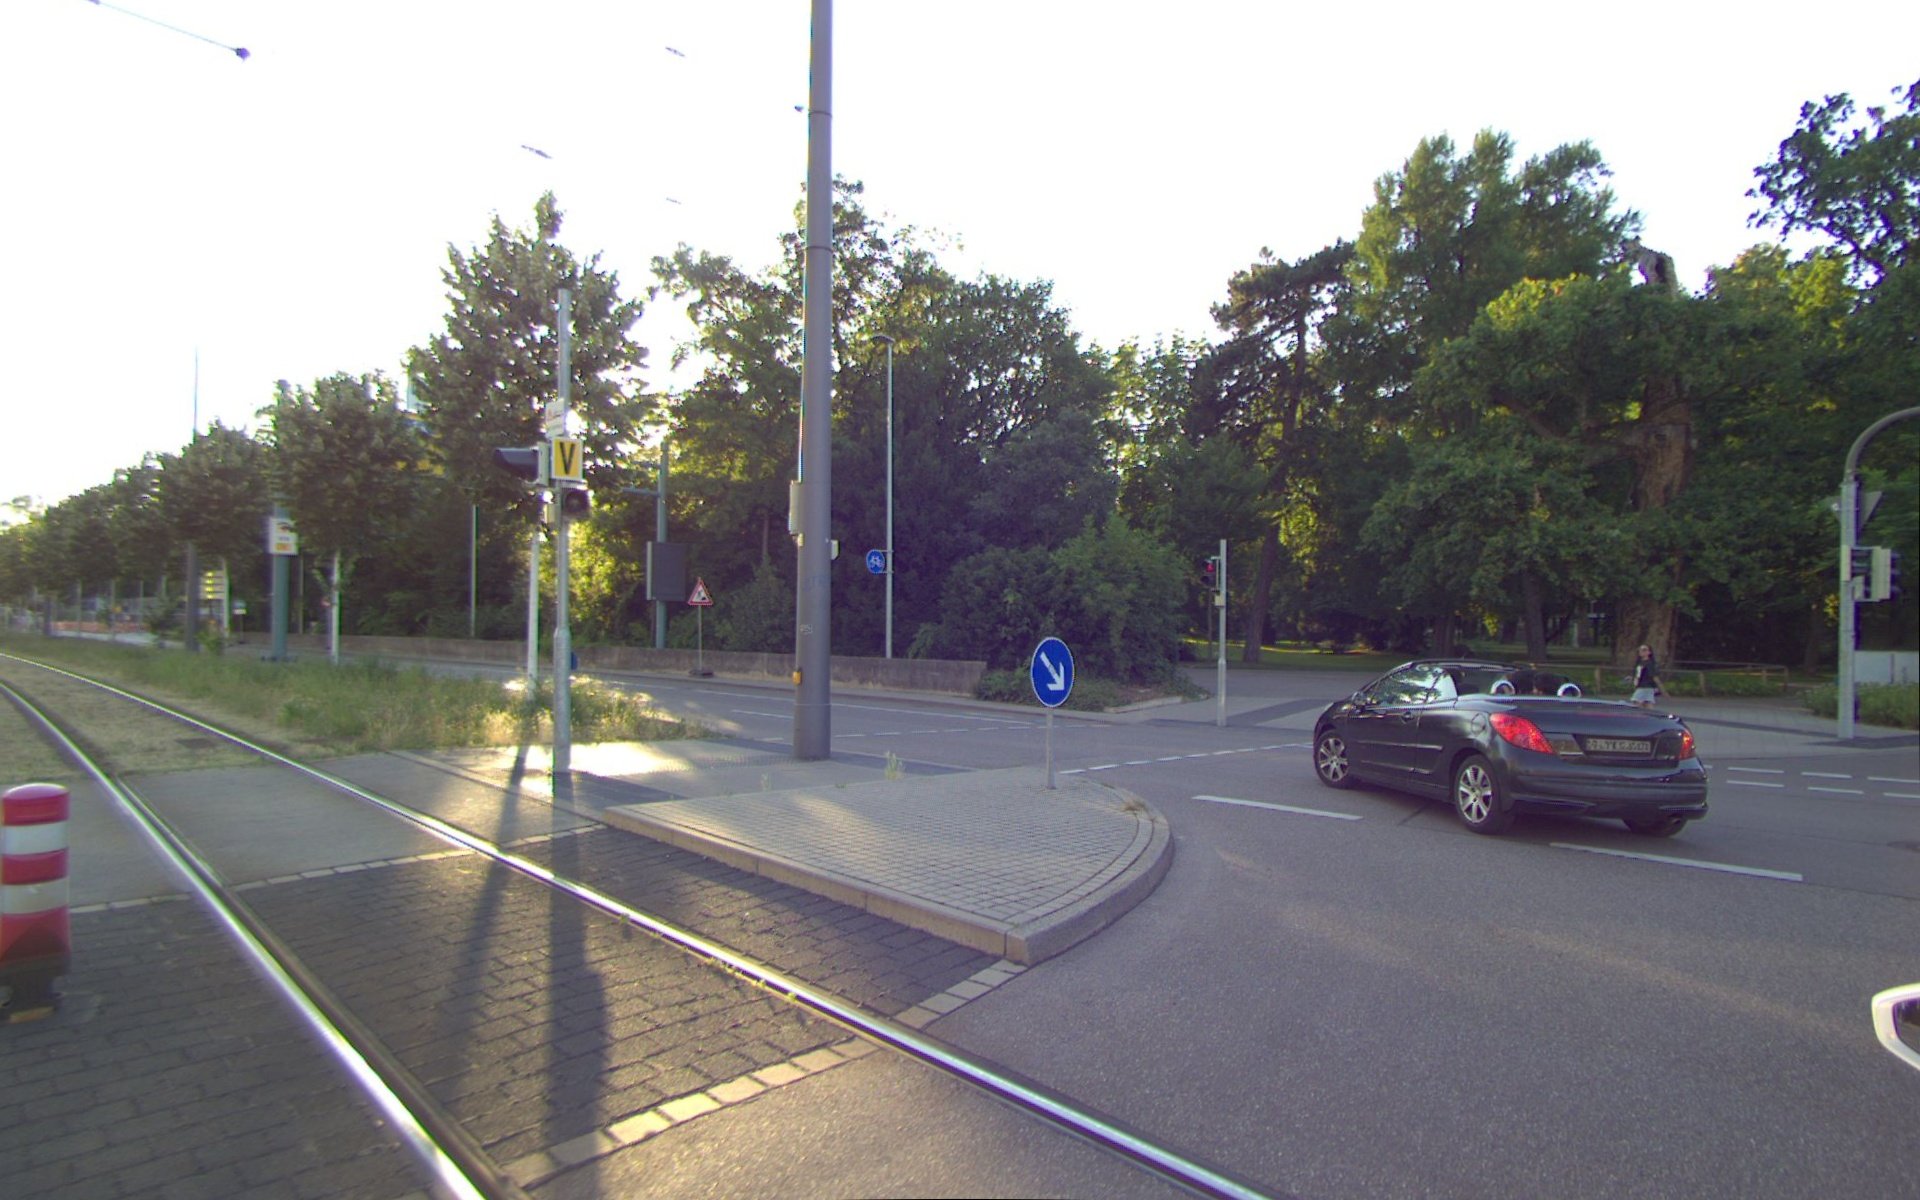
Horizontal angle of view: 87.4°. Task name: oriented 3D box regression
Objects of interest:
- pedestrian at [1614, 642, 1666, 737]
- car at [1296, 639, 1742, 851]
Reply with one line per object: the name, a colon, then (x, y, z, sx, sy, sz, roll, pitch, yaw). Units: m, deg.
pedestrian: (11.320, 1.468, 16.725, 0.576, 1.523, 0.611, 1, -1, -43)
car: (4.719, 1.120, 9.230, 1.691, 1.469, 3.899, 0, -2, -5)
